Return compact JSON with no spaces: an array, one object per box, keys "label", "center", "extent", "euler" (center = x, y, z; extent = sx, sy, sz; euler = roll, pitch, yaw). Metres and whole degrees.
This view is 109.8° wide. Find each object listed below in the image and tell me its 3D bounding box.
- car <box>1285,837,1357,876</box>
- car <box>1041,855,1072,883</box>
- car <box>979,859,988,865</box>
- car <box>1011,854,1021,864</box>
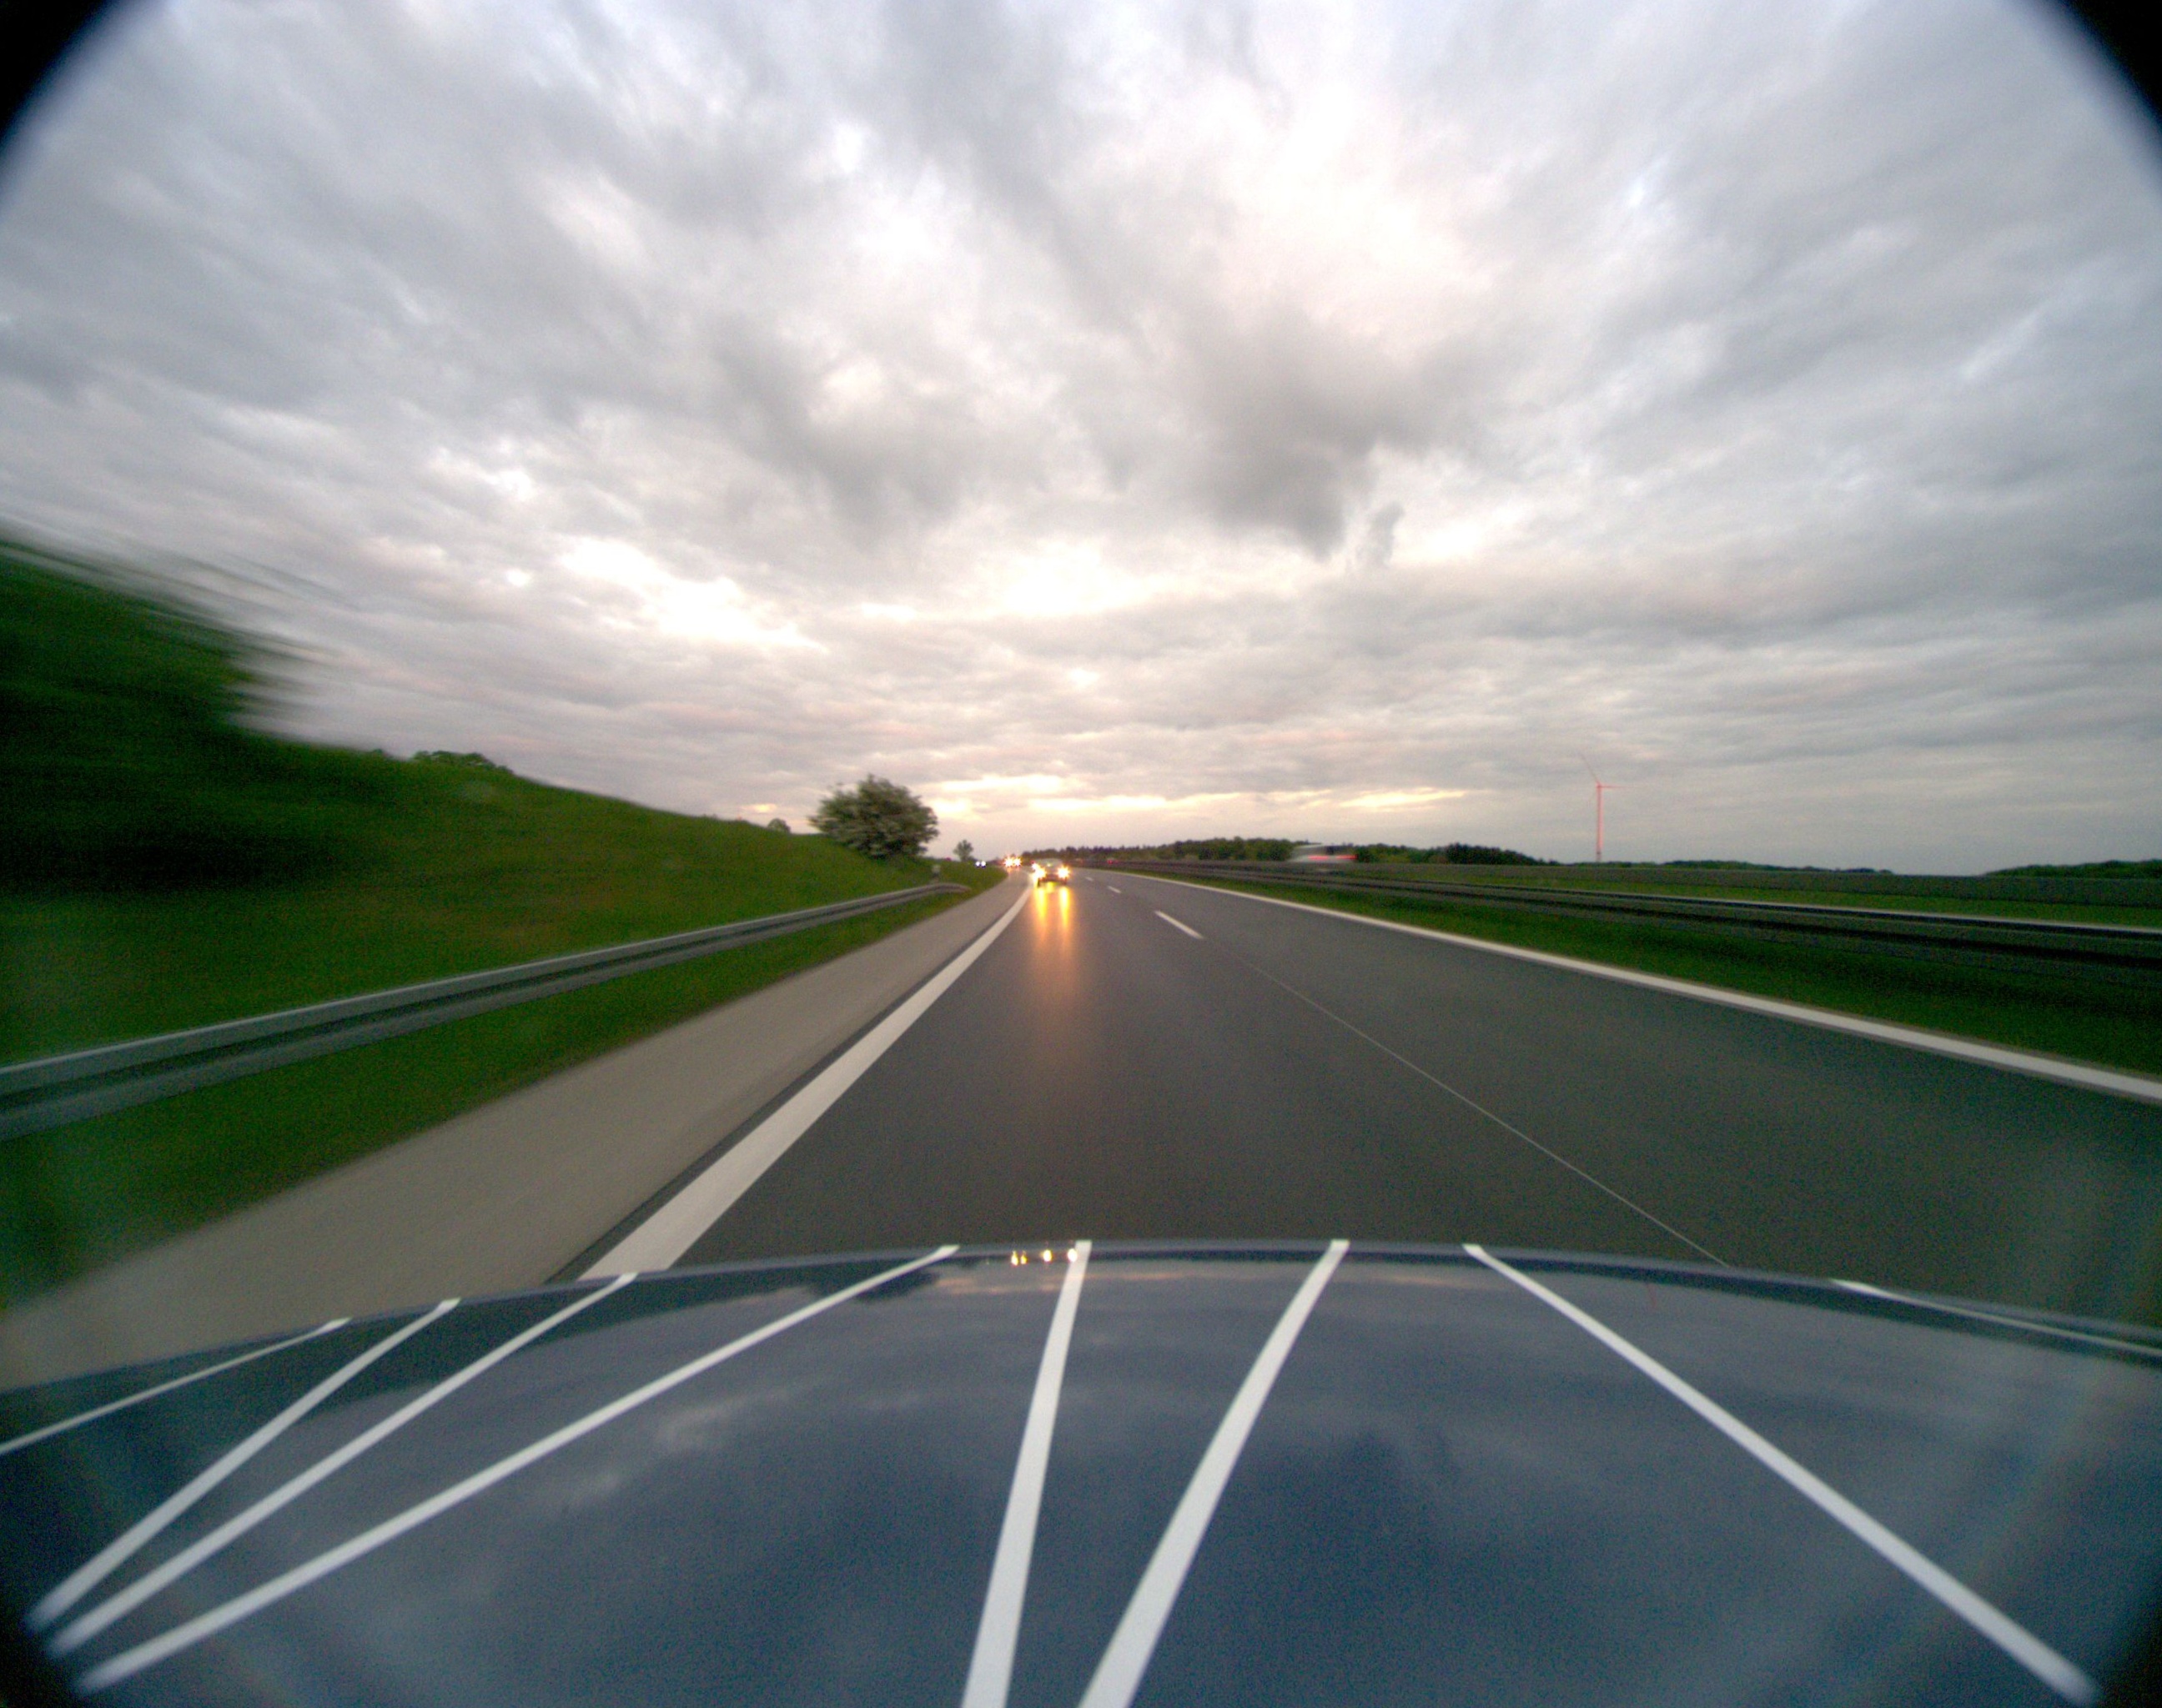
[{"label":"car","center":[14.151,0.156,45.199],"extent":[2.287,2.002,5.257],"euler":[5,0,-2]},{"label":"car","center":[-1.448,0.862,44.204],"extent":[1.682,1.504,3.999],"euler":[-2,0,-3]},{"label":"car","center":[-27.068,2.159,210.485],"extent":[1.804,1.635,4.088],"euler":[-1,0,-15]},{"label":"car","center":[-12.270,0.913,143.258],"extent":[1.920,1.827,3.998],"euler":[0,0,-7]}]
